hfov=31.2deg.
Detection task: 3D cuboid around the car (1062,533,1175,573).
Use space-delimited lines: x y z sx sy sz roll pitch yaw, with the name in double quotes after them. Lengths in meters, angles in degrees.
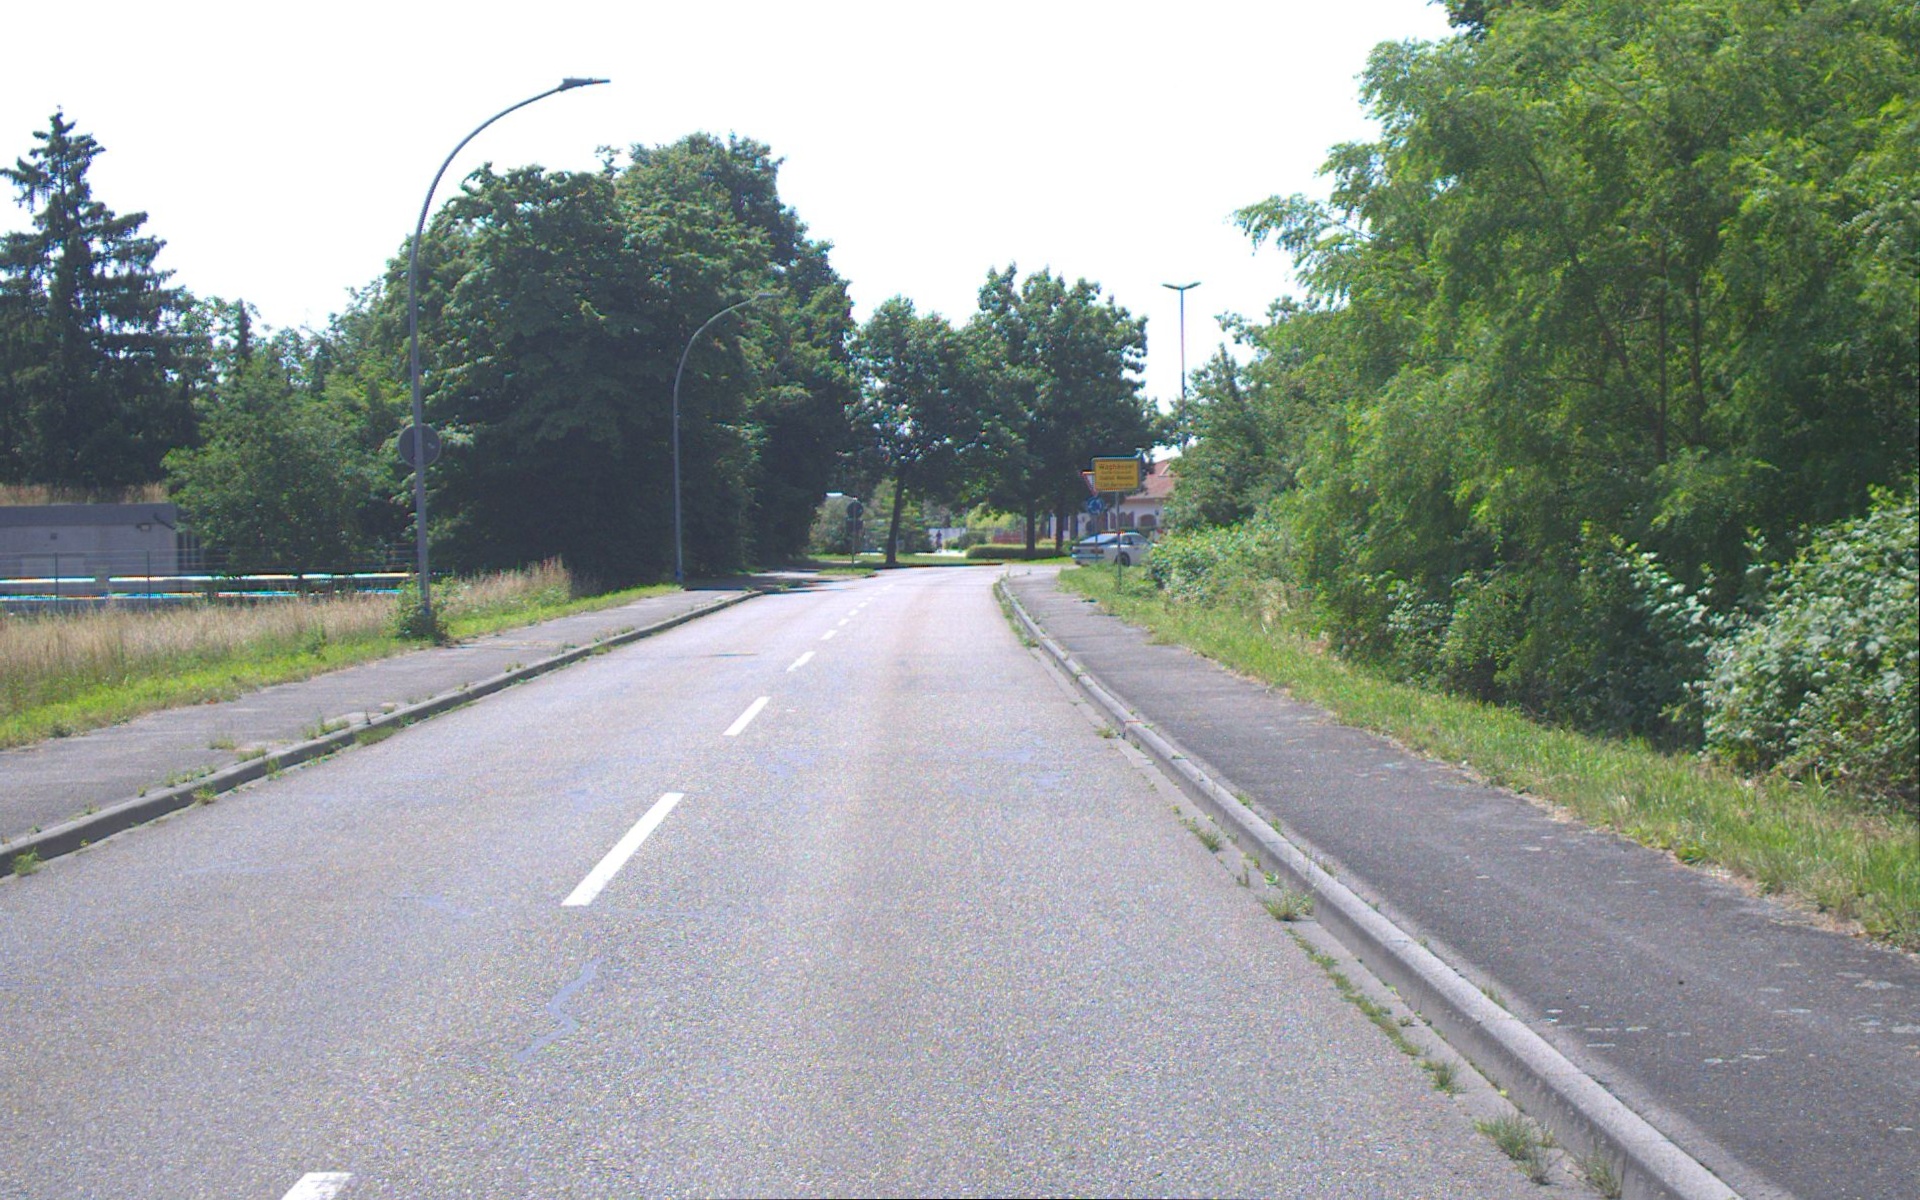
5.260 -1.554 114.103 3.546 1.284 1.619 -1 1 -39 "car"
